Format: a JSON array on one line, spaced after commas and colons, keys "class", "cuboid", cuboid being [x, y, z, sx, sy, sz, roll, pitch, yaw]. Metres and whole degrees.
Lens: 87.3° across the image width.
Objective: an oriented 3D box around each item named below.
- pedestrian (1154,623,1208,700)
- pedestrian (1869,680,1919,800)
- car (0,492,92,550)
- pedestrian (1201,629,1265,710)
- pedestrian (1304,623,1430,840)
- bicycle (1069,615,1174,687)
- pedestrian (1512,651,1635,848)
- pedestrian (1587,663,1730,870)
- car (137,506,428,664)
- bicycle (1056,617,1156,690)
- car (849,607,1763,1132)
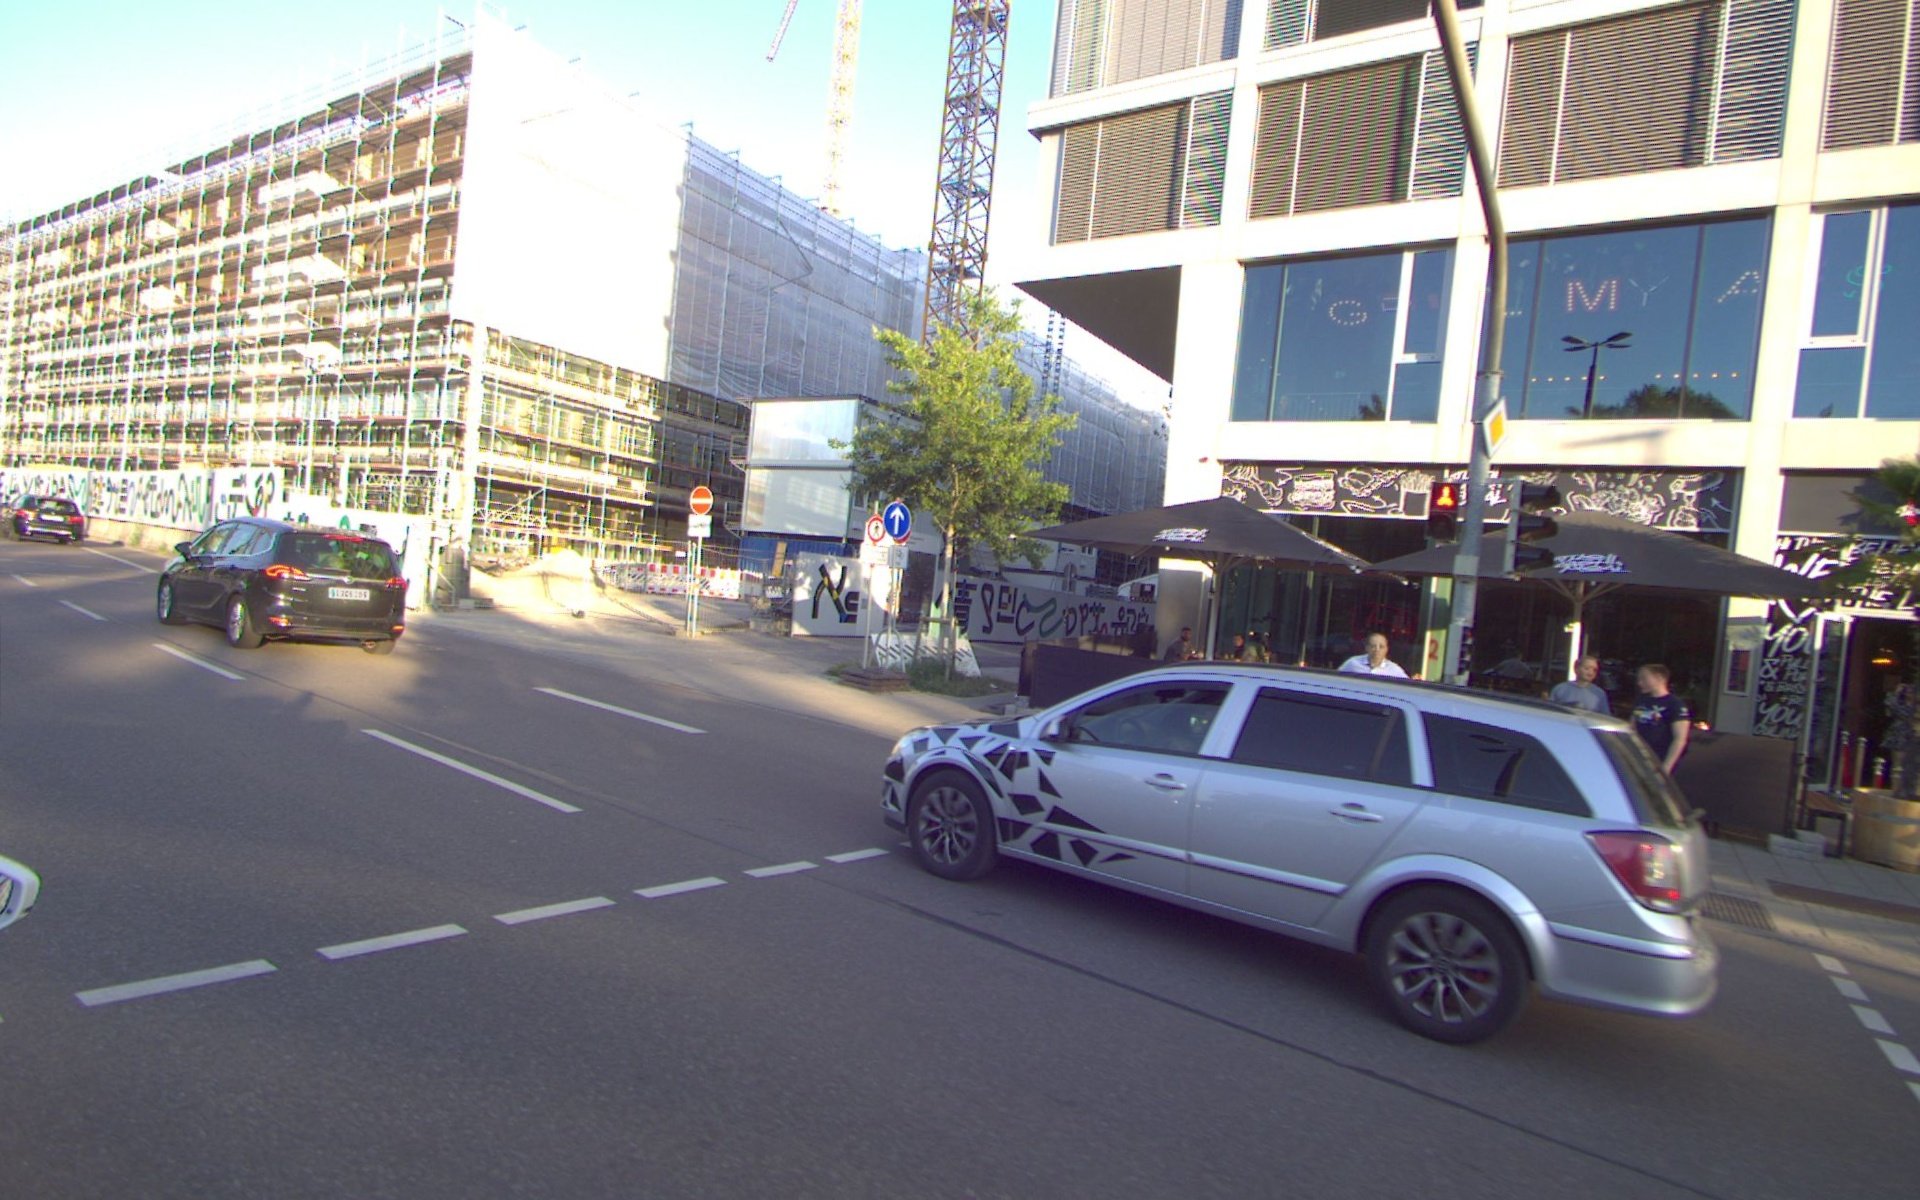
[{"class": "pedestrian", "cuboid": [4.065, 1.124, 18.537, 0.609, 1.338, 0.614, 1, 5, -39]}, {"class": "pedestrian", "cuboid": [13.373, 1.977, 14.235, 0.549, 1.620, 0.451, 7, 0, 34]}, {"class": "car", "cuboid": [-30.713, -2.664, 33.565, 4.723, 1.537, 1.819, 6, -1, 40]}, {"class": "pedestrian", "cuboid": [4.884, 1.224, 18.005, 0.742, 1.338, 0.705, 1, 5, -44]}, {"class": "pedestrian", "cuboid": [3.838, 1.203, 9.488, 0.759, 1.872, 0.675, 7, 3, 38]}, {"class": "bicycle", "cuboid": [3.260, 1.027, 20.379, 1.925, 1.225, 0.543, 6, -1, 35]}, {"class": "pedestrian", "cuboid": [5.954, 1.407, 9.764, 0.755, 1.759, 0.678, 2, 5, -44]}, {"class": "pedestrian", "cuboid": [6.300, 1.477, 9.094, 0.680, 1.725, 0.651, 3, 3, -27]}, {"class": "car", "cuboid": [-9.279, -0.249, 13.661, 4.299, 1.618, 1.823, 7, -1, 36]}, {"class": "bicycle", "cuboid": [2.815, 1.027, 19.444, 1.718, 1.225, 0.586, 5, -1, 35]}, {"class": "car", "cuboid": [1.623, 1.061, 5.600, 4.237, 1.481, 1.829, 6, -1, 37]}]
